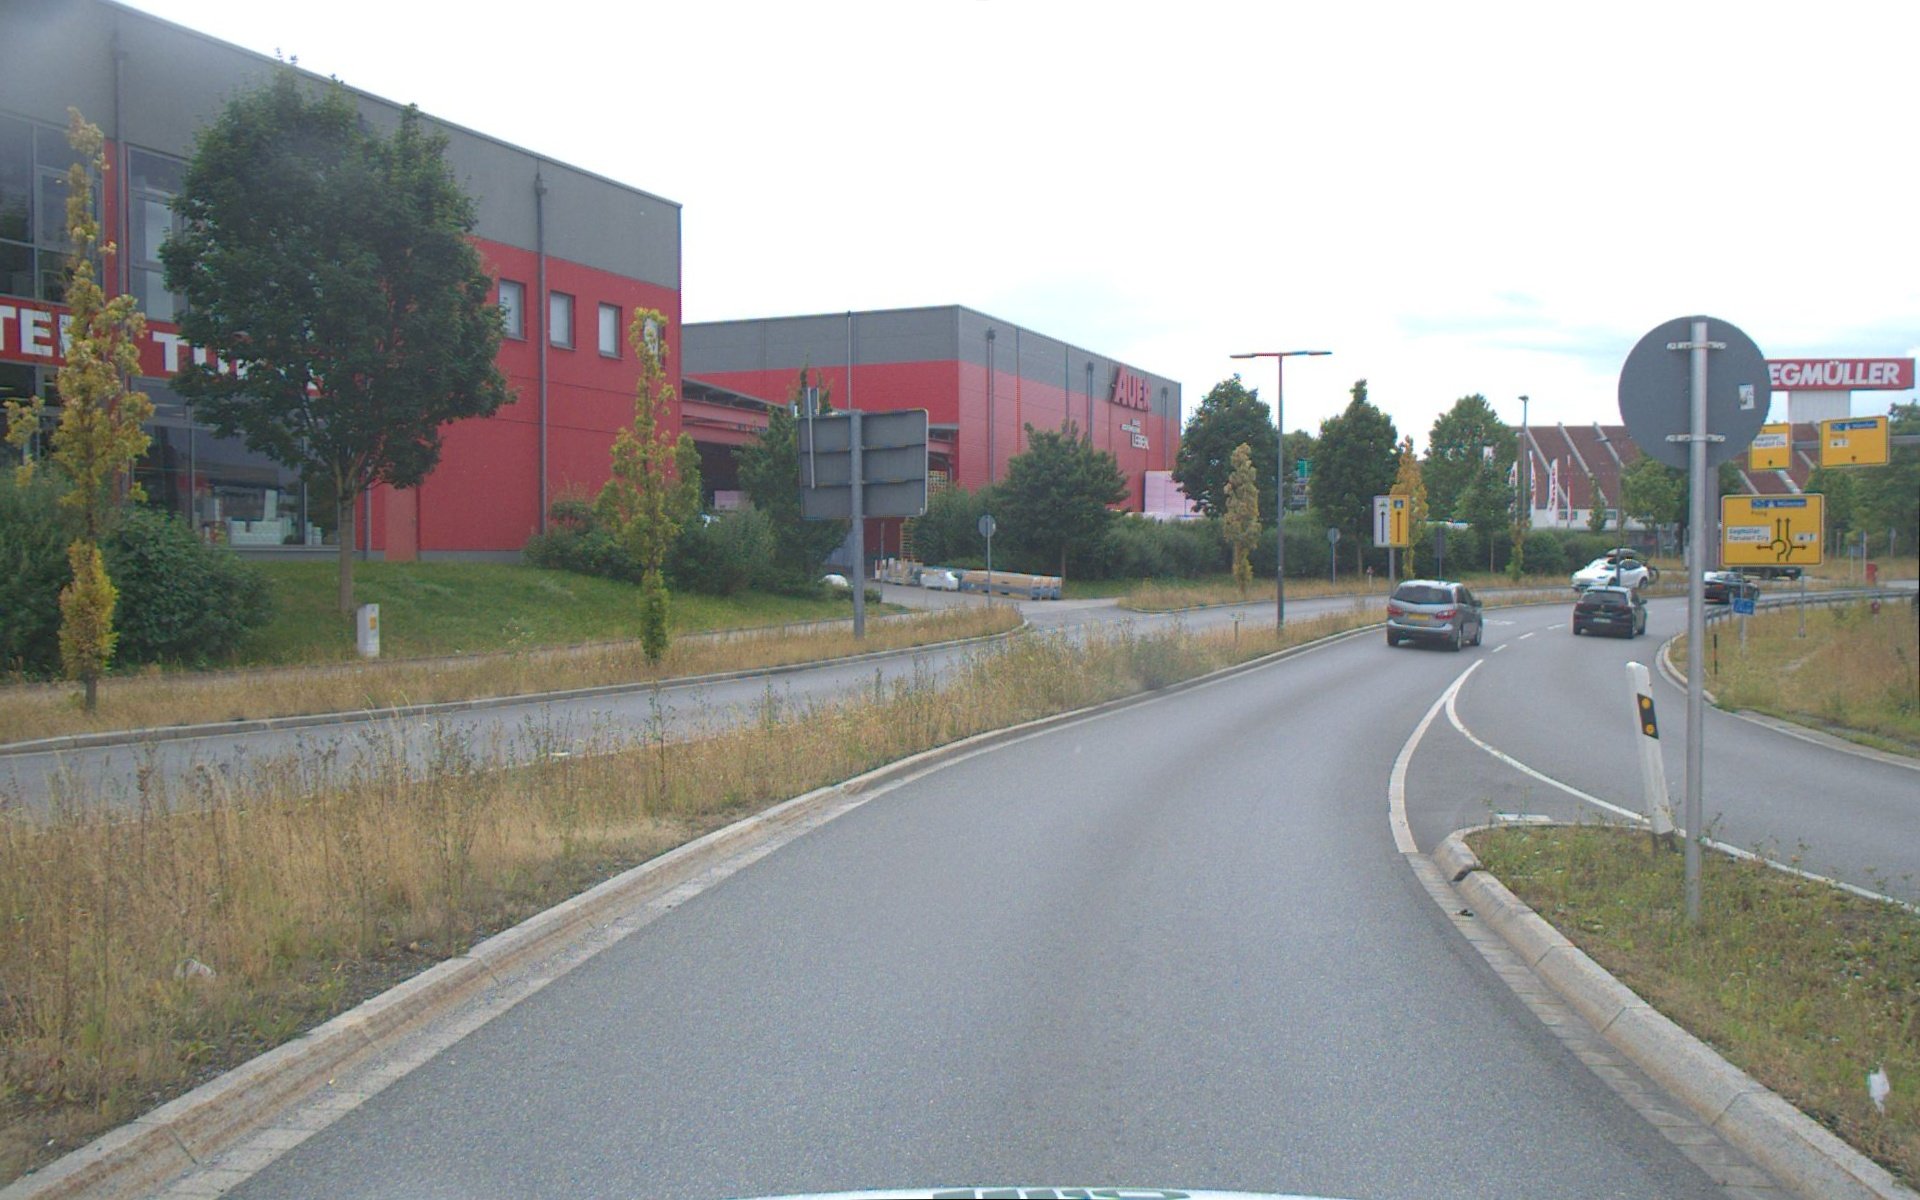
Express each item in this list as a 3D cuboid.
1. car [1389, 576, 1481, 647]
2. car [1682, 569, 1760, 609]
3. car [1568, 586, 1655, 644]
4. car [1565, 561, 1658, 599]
[{"bbox_3d":[11.794,0.270,40.904,1.731,1.645,3.920,1,0,23],"label":"car"},{"bbox_3d":[32.732,-0.471,71.098,1.880,1.646,3.972,1,0,44],"label":"car"},{"bbox_3d":[19.435,0.424,49.274,1.835,1.633,3.726,1,0,31],"label":"car"},{"bbox_3d":[31.293,-0.972,79.403,4.585,1.654,1.892,0,4,-36],"label":"car"}]
